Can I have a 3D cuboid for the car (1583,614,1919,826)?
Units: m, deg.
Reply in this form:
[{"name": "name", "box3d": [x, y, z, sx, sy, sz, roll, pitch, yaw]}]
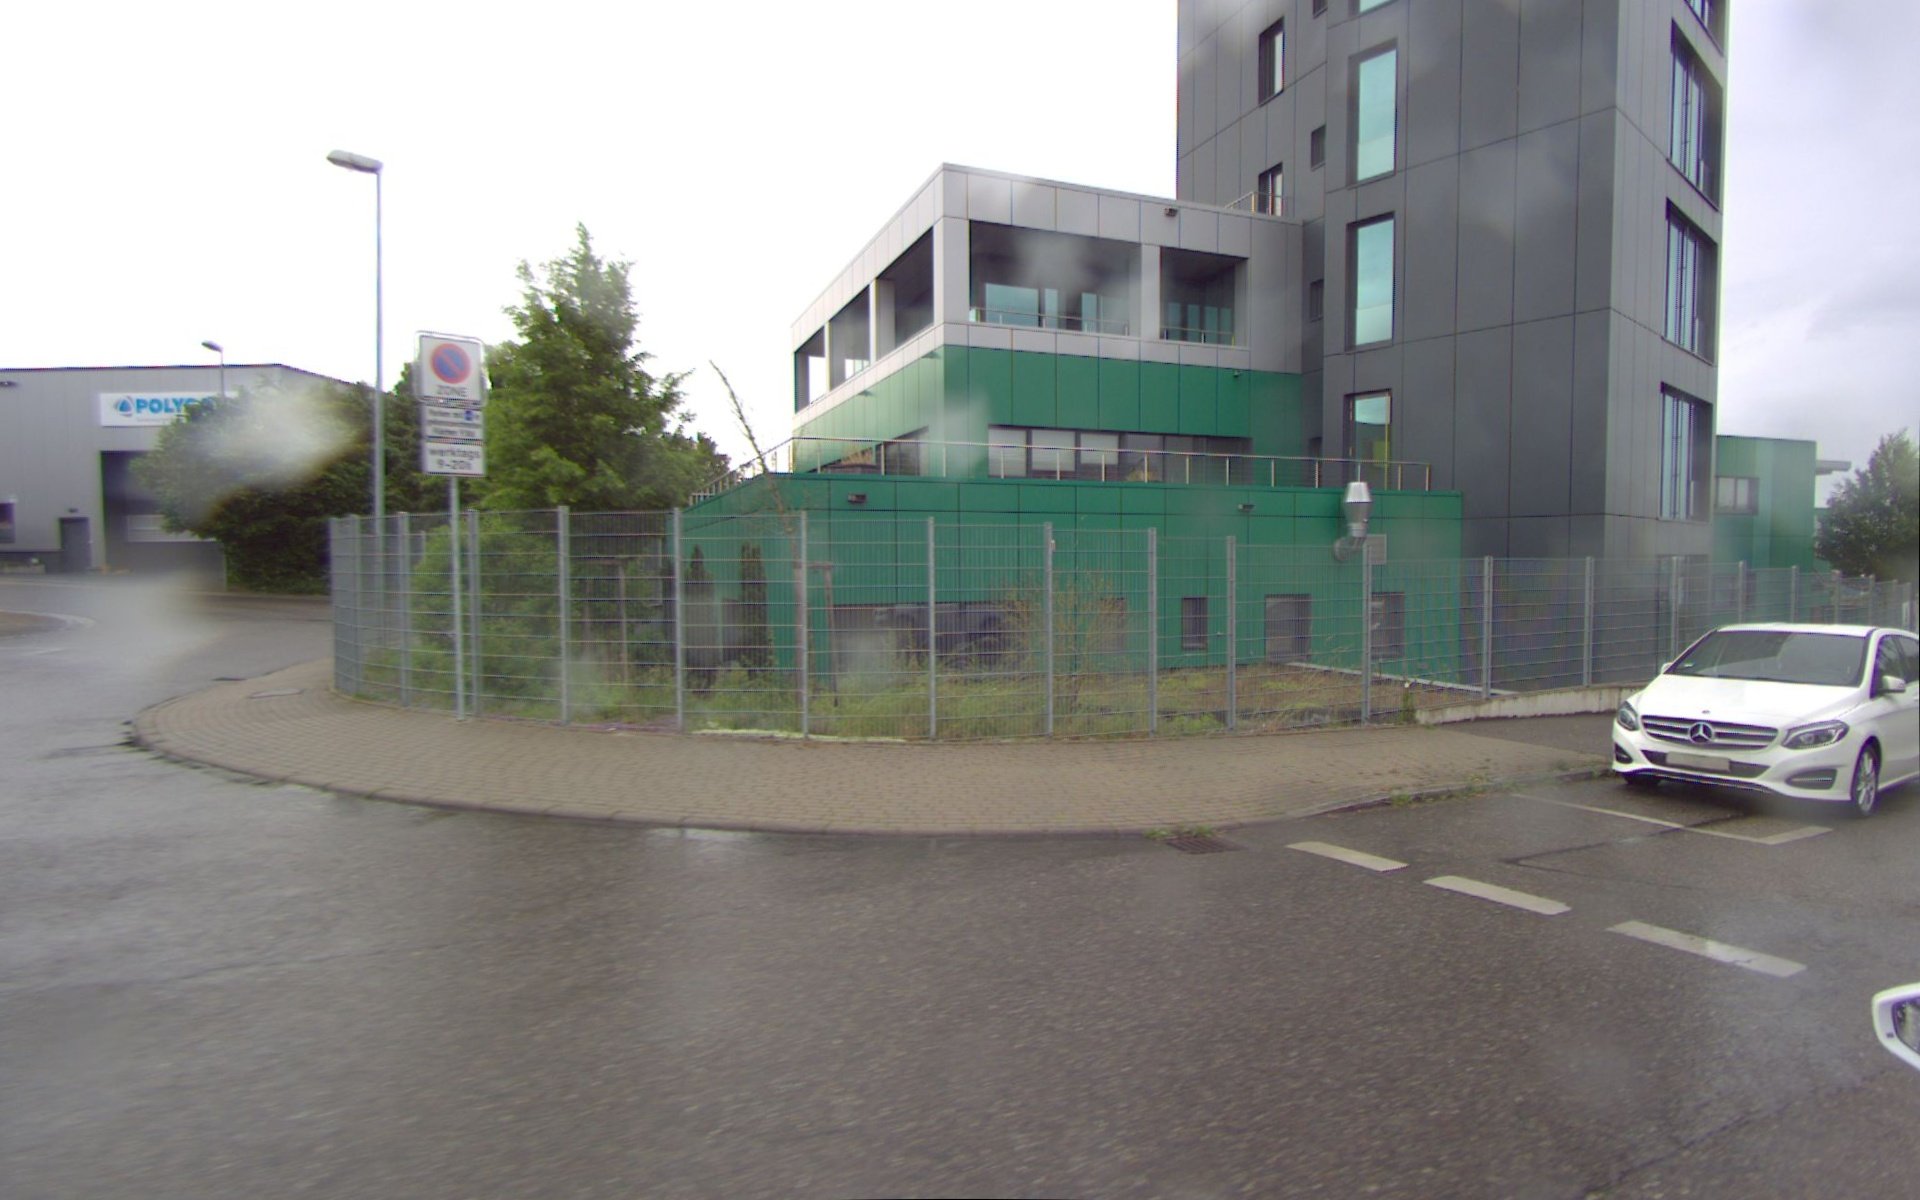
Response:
[{"name": "car", "box3d": [7.853, 0.971, 9.515, 4.206, 1.556, 1.724, 2, 0, -34]}]
